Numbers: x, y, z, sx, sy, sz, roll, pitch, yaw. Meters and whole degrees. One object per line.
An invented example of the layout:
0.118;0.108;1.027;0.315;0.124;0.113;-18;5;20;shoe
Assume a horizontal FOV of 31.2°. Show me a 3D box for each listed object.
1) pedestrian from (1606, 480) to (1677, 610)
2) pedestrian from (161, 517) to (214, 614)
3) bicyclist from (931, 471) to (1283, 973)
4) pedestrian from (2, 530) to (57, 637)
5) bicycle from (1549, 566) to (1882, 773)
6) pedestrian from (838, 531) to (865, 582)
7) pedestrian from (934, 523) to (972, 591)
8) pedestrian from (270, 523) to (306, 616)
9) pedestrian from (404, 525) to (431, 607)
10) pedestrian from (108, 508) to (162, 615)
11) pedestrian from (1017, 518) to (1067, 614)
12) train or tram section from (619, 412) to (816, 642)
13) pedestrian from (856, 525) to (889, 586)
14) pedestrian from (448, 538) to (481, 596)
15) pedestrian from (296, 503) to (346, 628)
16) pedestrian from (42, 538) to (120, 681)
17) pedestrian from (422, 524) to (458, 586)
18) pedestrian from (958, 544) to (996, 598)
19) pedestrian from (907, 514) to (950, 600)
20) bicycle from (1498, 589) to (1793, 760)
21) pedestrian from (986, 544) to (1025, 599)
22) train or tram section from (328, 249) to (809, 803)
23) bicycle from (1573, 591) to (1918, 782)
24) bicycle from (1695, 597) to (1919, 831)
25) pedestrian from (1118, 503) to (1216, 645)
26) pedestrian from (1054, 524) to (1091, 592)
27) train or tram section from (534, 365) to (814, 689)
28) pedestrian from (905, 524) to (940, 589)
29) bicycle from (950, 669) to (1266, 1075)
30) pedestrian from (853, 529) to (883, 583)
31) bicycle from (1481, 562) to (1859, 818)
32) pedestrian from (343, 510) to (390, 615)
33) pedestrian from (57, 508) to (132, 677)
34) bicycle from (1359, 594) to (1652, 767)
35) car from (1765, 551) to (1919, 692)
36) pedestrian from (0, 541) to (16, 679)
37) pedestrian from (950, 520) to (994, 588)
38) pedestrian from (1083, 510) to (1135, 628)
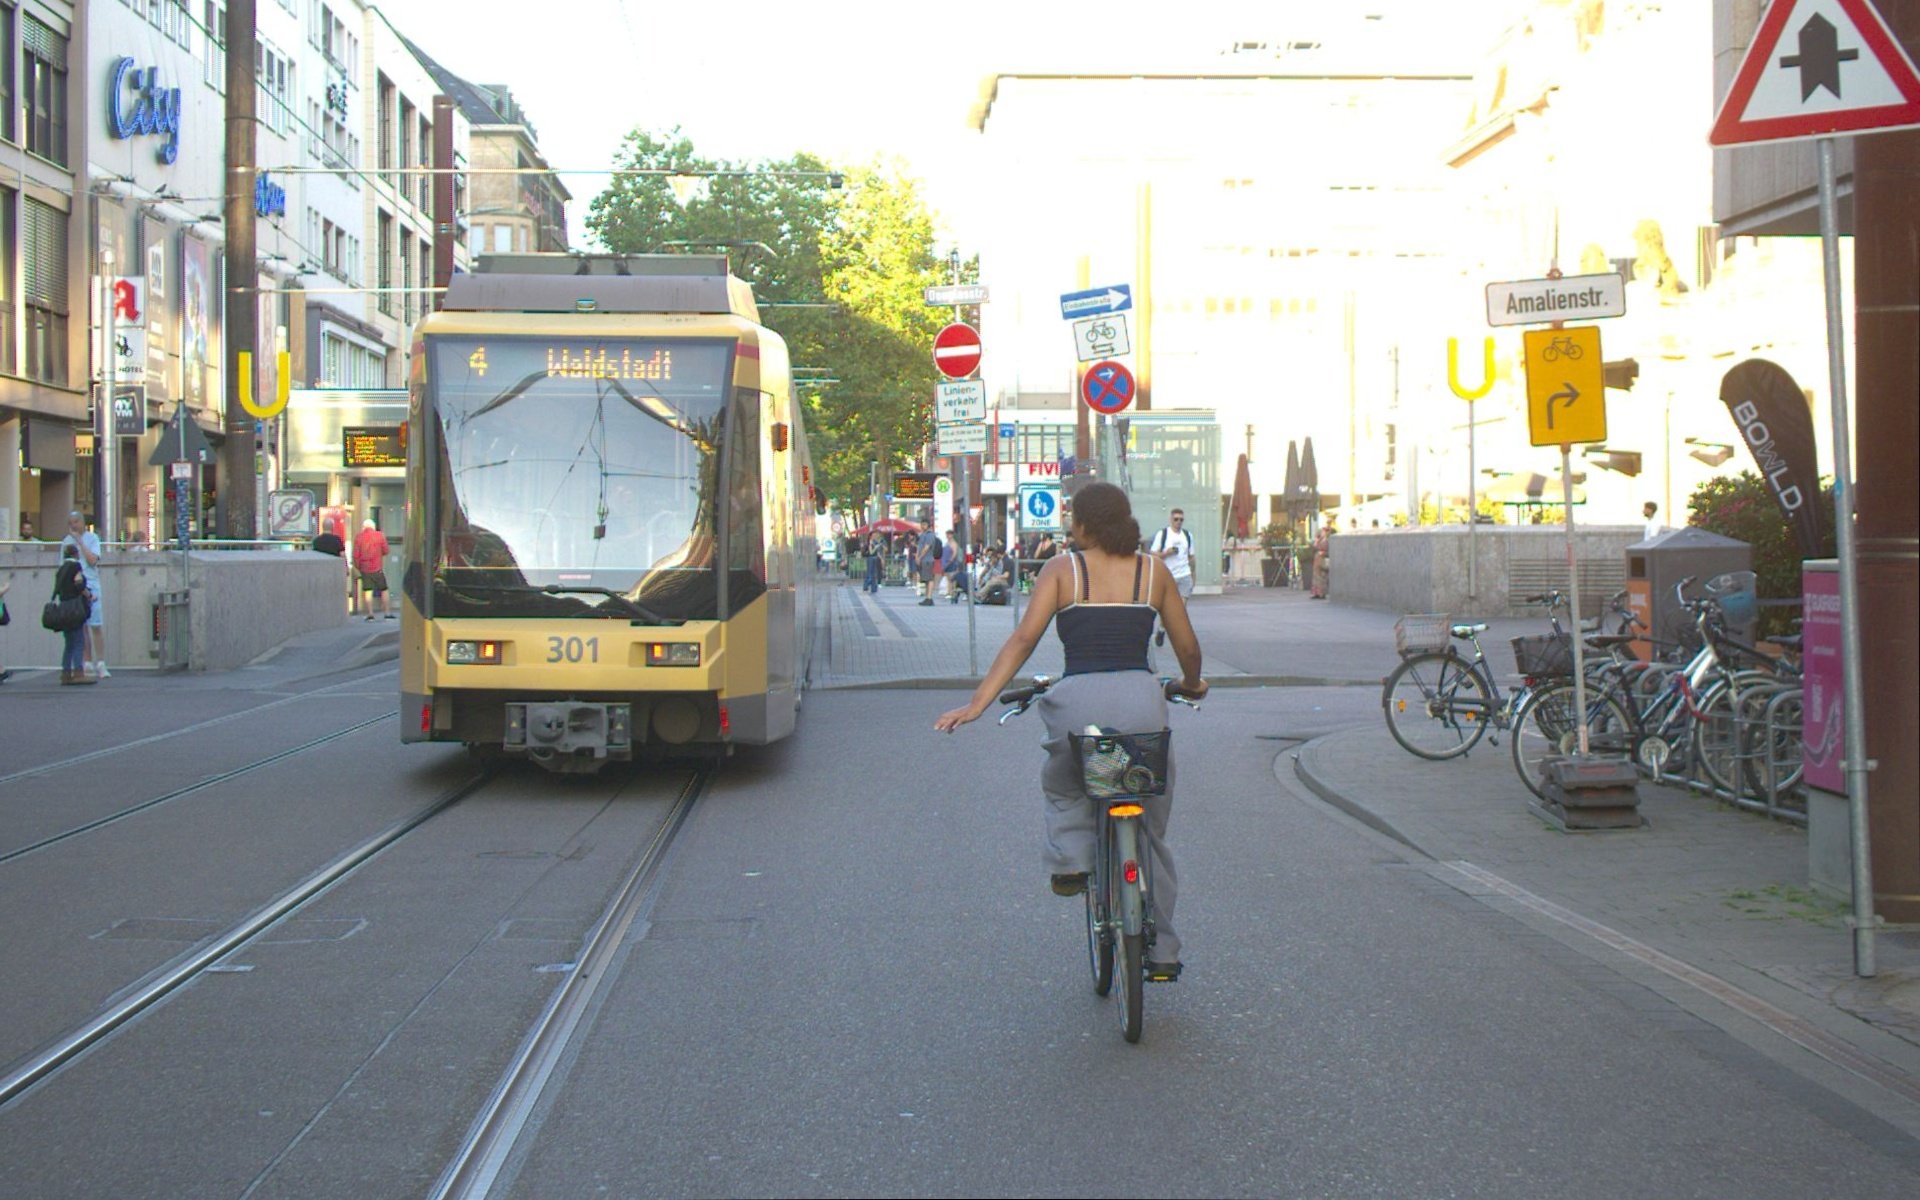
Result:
10.666;-0.863;53.810;0.914;2.007;0.772;1;0;-1;pedestrian
-12.639;-0.560;56.257;0.626;1.583;0.605;0;0;-44;pedestrian
0.443;0.364;10.846;0.997;1.497;0.857;2;1;-2;bicyclist
-15.071;-0.269;55.695;0.713;1.719;0.709;0;0;-3;pedestrian
4.847;0.433;22.111;1.914;1.218;0.763;-2;1;-6;bicycle
-3.546;-1.437;112.335;0.767;1.655;0.794;0;1;7;pedestrian
-0.166;-1.062;84.164;0.792;1.655;0.769;0;1;10;pedestrian
-11.495;-0.528;58.828;0.603;1.583;0.628;0;0;-11;pedestrian
-10.804;-0.673;68.468;0.511;1.612;0.505;0;0;-11;pedestrian
-13.385;-0.618;55.758;0.605;1.719;0.626;0;0;45;pedestrian
1.556;-0.649;65.218;0.733;1.817;0.820;0;1;-16;pedestrian
-3.800;-1.201;56.858;2.800;3.308;14.510;0;1;-2;train or tram section
-2.363;-1.203;92.953;0.767;1.655;0.794;0;1;10;pedestrian
-11.744;-0.783;81.485;0.707;1.374;0.720;0;0;-3;pedestrian
-9.878;-0.526;53.173;0.713;1.918;0.709;0;0;-7;pedestrian
-9.519;0.101;37.244;0.684;1.536;0.605;0;0;1;pedestrian
-11.561;-0.993;76.434;0.707;1.374;0.720;0;0;-3;pedestrian
0.376;-0.653;77.007;0.792;1.217;0.769;0;1;-5;pedestrian
-0.671;-0.927;73.194;0.733;1.817;0.820;0;1;-16;pedestrian
4.708;0.505;23.666;1.852;1.105;0.667;-1;1;-4;bicycle
1.007;-0.636;76.219;0.792;1.217;0.769;0;1;-5;pedestrian
-2.658;-0.592;27.828;2.800;3.308;14.510;0;1;-2;train or tram section
4.868;0.522;21.366;1.914;1.074;0.763;-2;1;-6;bicycle
5.019;0.576;18.321;1.995;1.151;0.726;-2;1;-6;bicycle
2.735;-0.344;45.506;1.013;1.857;1.043;1;1;-13;pedestrian
2.759;-1.028;84.382;0.792;1.655;0.769;0;1;10;pedestrian
-3.224;-0.895;42.325;2.800;3.308;14.510;0;1;-2;train or tram section
-0.973;-1.128;88.936;0.792;1.655;0.769;0;1;10;pedestrian
0.425;0.808;10.998;0.815;1.069;2.113;2;1;-2;bicycle
-2.847;-1.358;106.592;0.792;1.655;0.769;0;1;10;pedestrian
3.984;0.491;19.350;1.914;1.328;0.726;-2;1;-6;bicycle
-9.723;-0.612;56.326;0.713;1.692;0.786;0;0;-8;pedestrian
-9.893;-0.088;39.331;0.773;1.919;0.709;0;0;-10;pedestrian
3.713;0.537;23.470;1.852;1.105;0.667;-1;1;-4;bicycle
10.549;0.227;35.460;4.038;1.404;1.776;0;0;-3;car
-10.559;0.106;37.188;0.603;1.489;0.555;0;0;-10;pedestrian
0.285;-1.083;80.878;0.768;1.573;0.793;1;1;28;pedestrian
2.185;-0.456;50.466;0.718;1.719;0.709;0;0;-2;pedestrian
